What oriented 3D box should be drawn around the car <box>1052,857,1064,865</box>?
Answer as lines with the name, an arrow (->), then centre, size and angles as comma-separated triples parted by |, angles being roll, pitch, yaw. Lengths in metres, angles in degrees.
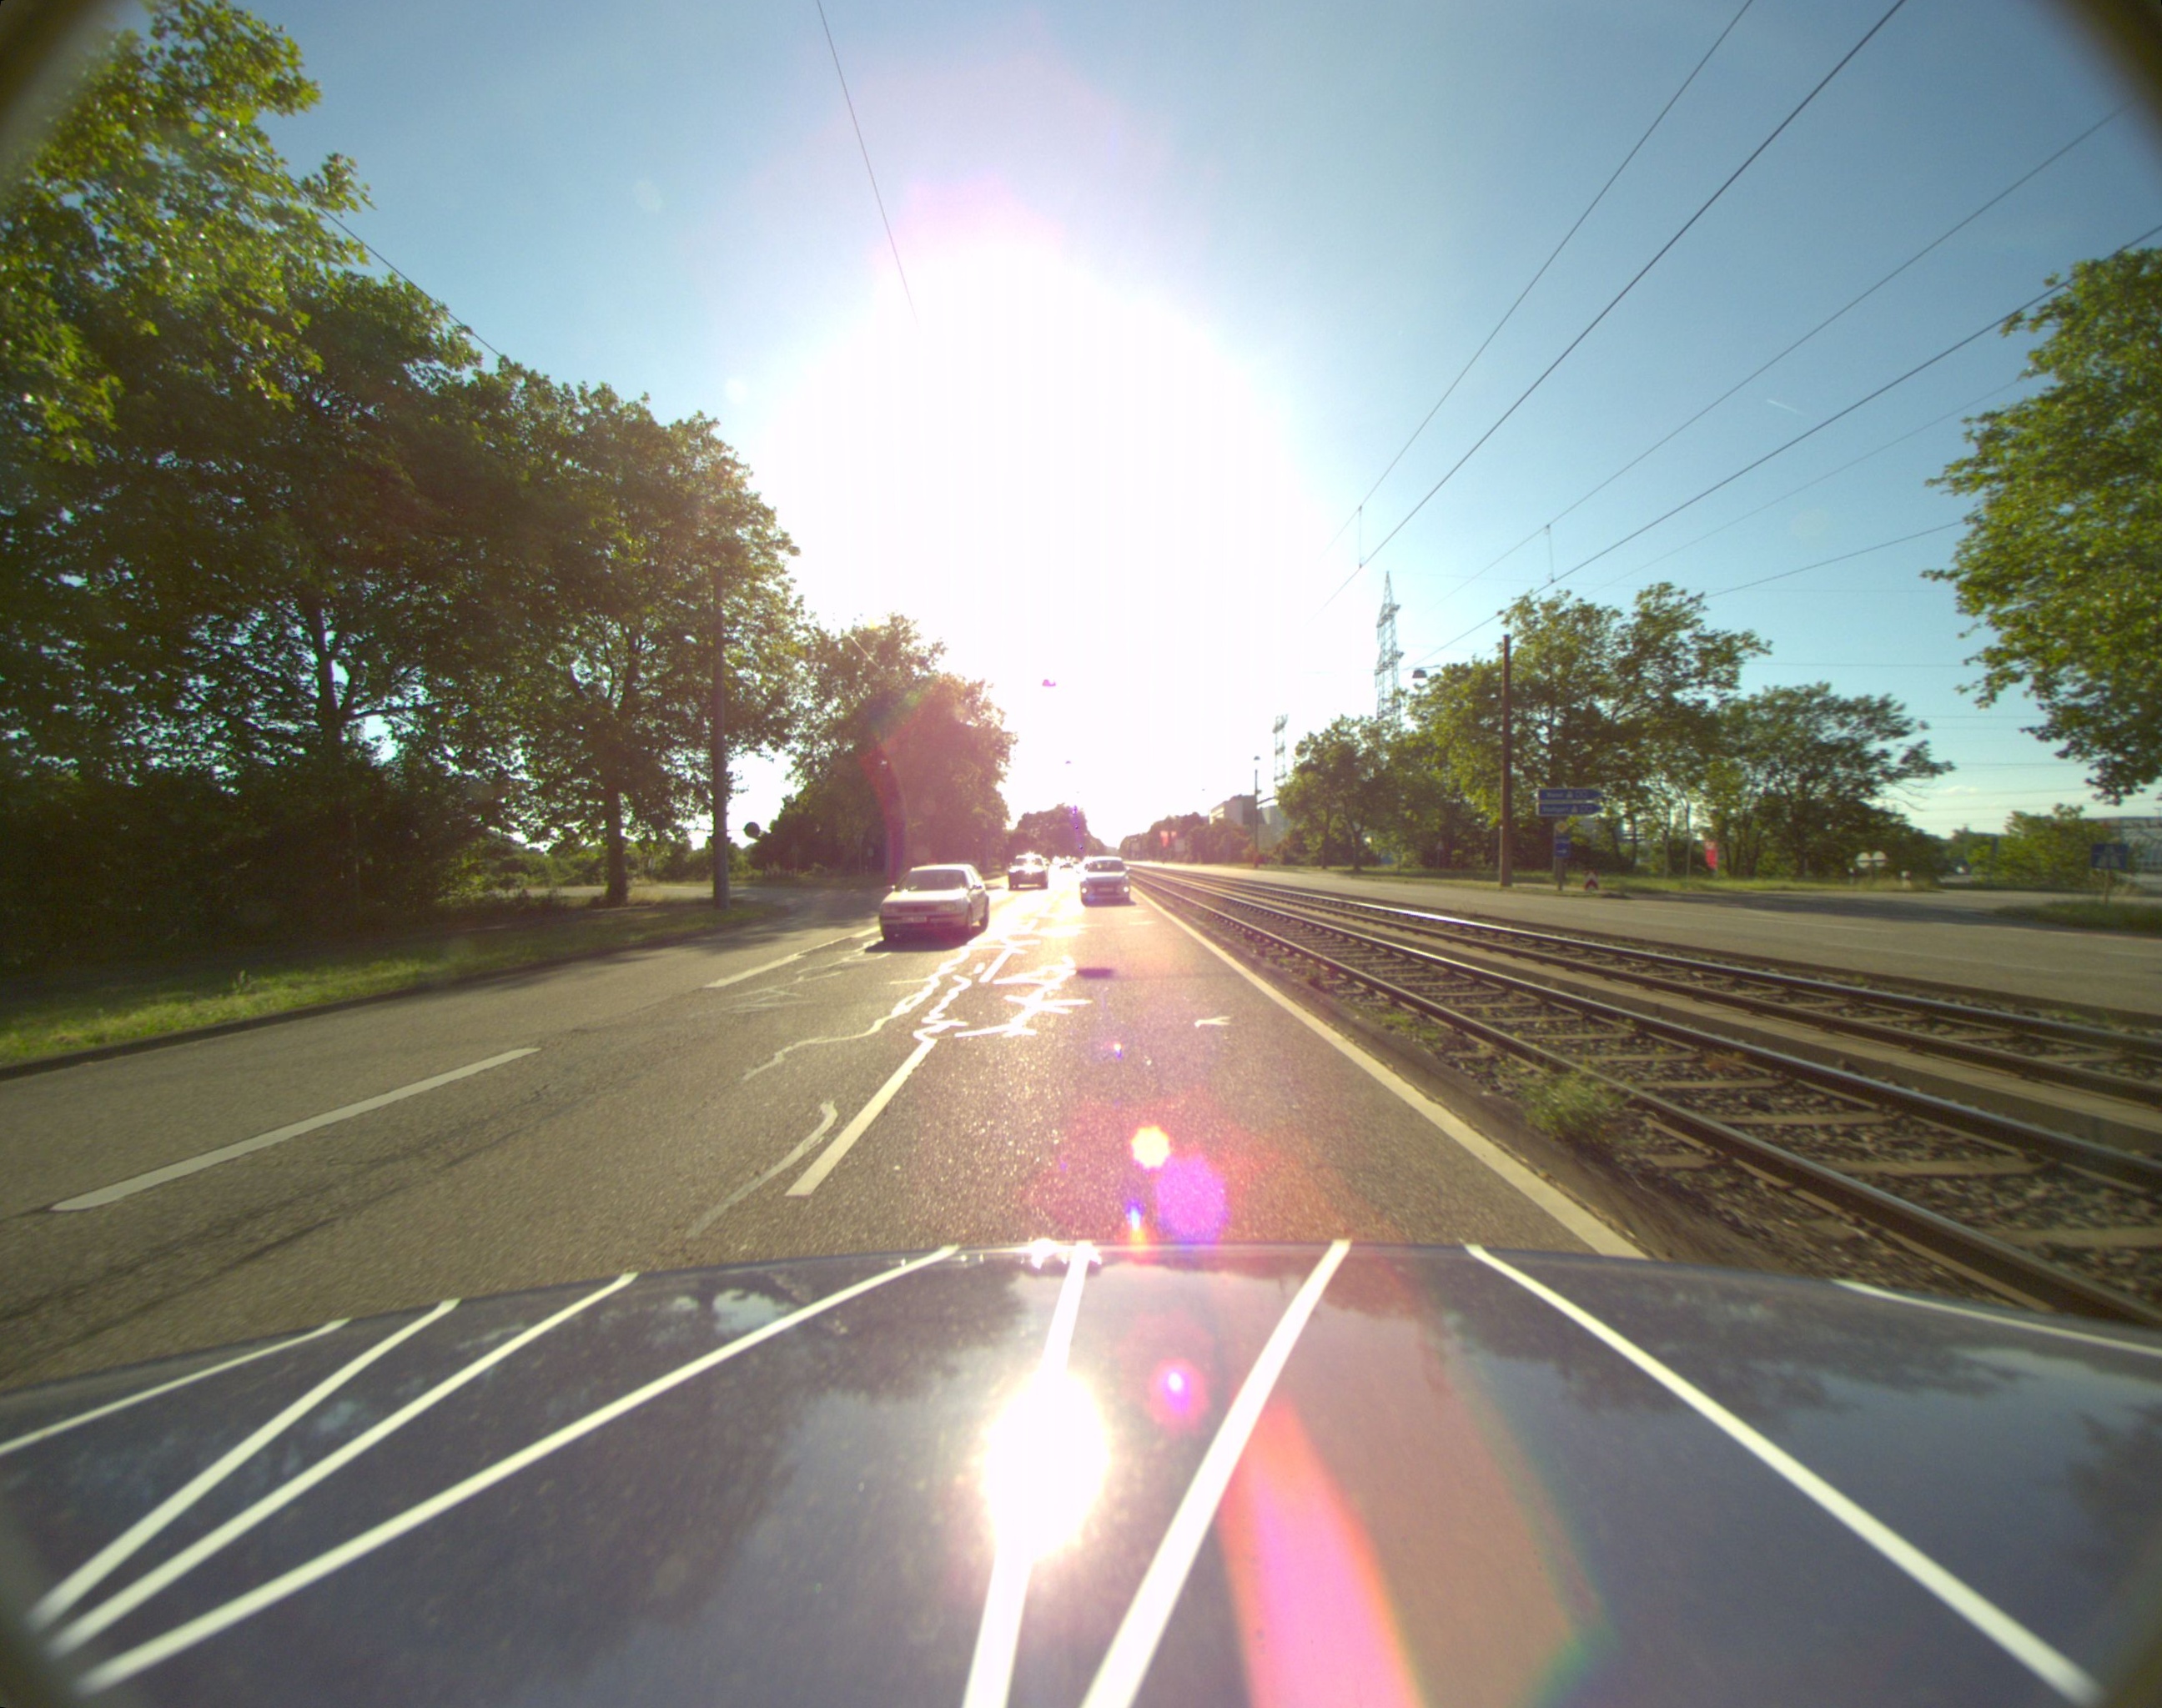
car -> -4.461, 1.390, 148.486 | 1.880, 1.449, 4.418 | -1, 0, 5

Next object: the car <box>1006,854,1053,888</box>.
car -> -2.570, 0.827, 38.926 | 1.881, 1.591, 4.417 | -1, 0, 2

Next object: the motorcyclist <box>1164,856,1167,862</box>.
motorcyclist -> 17.434, 0.995, 156.563 | 0.537, 1.263, 0.805 | -3, 1, 1

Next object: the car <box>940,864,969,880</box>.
car -> -12.951, 1.862, 77.977 | 1.881, 1.435, 4.660 | -1, 0, 3

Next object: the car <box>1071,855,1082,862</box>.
car -> -0.889, 0.946, 158.744 | 1.880, 1.449, 4.418 | -1, 0, 5

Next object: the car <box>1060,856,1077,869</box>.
car -> -1.579, 1.028, 95.542 | 1.881, 1.449, 4.417 | -1, 0, 2

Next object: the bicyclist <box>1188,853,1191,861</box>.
bicyclist -> 22.271, 0.655, 156.000 | 0.591, 1.601, 0.967 | 0, 1, 0

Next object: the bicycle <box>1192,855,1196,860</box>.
bicycle -> 23.175, 0.776, 156.230 | 0.591, 1.016, 2.185 | 0, 0, 0

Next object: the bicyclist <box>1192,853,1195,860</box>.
bicyclist -> 23.169, 0.511, 156.173 | 0.591, 1.519, 0.906 | 0, 1, 0

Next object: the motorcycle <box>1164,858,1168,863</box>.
motorcycle -> 17.453, 1.360, 156.595 | 0.537, 1.084, 1.902 | -3, 0, 1

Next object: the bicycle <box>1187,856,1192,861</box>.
bicycle -> 22.286, 0.962, 156.151 | 0.591, 1.016, 2.185 | 0, 0, 0

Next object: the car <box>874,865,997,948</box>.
car -> -2.934, 1.008, 16.134 | 1.695, 1.437, 4.001 | -1, 0, 2

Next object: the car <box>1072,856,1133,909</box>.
car -> 0.773, 0.923, 26.165 | 1.881, 1.591, 4.417 | -1, 0, 2
